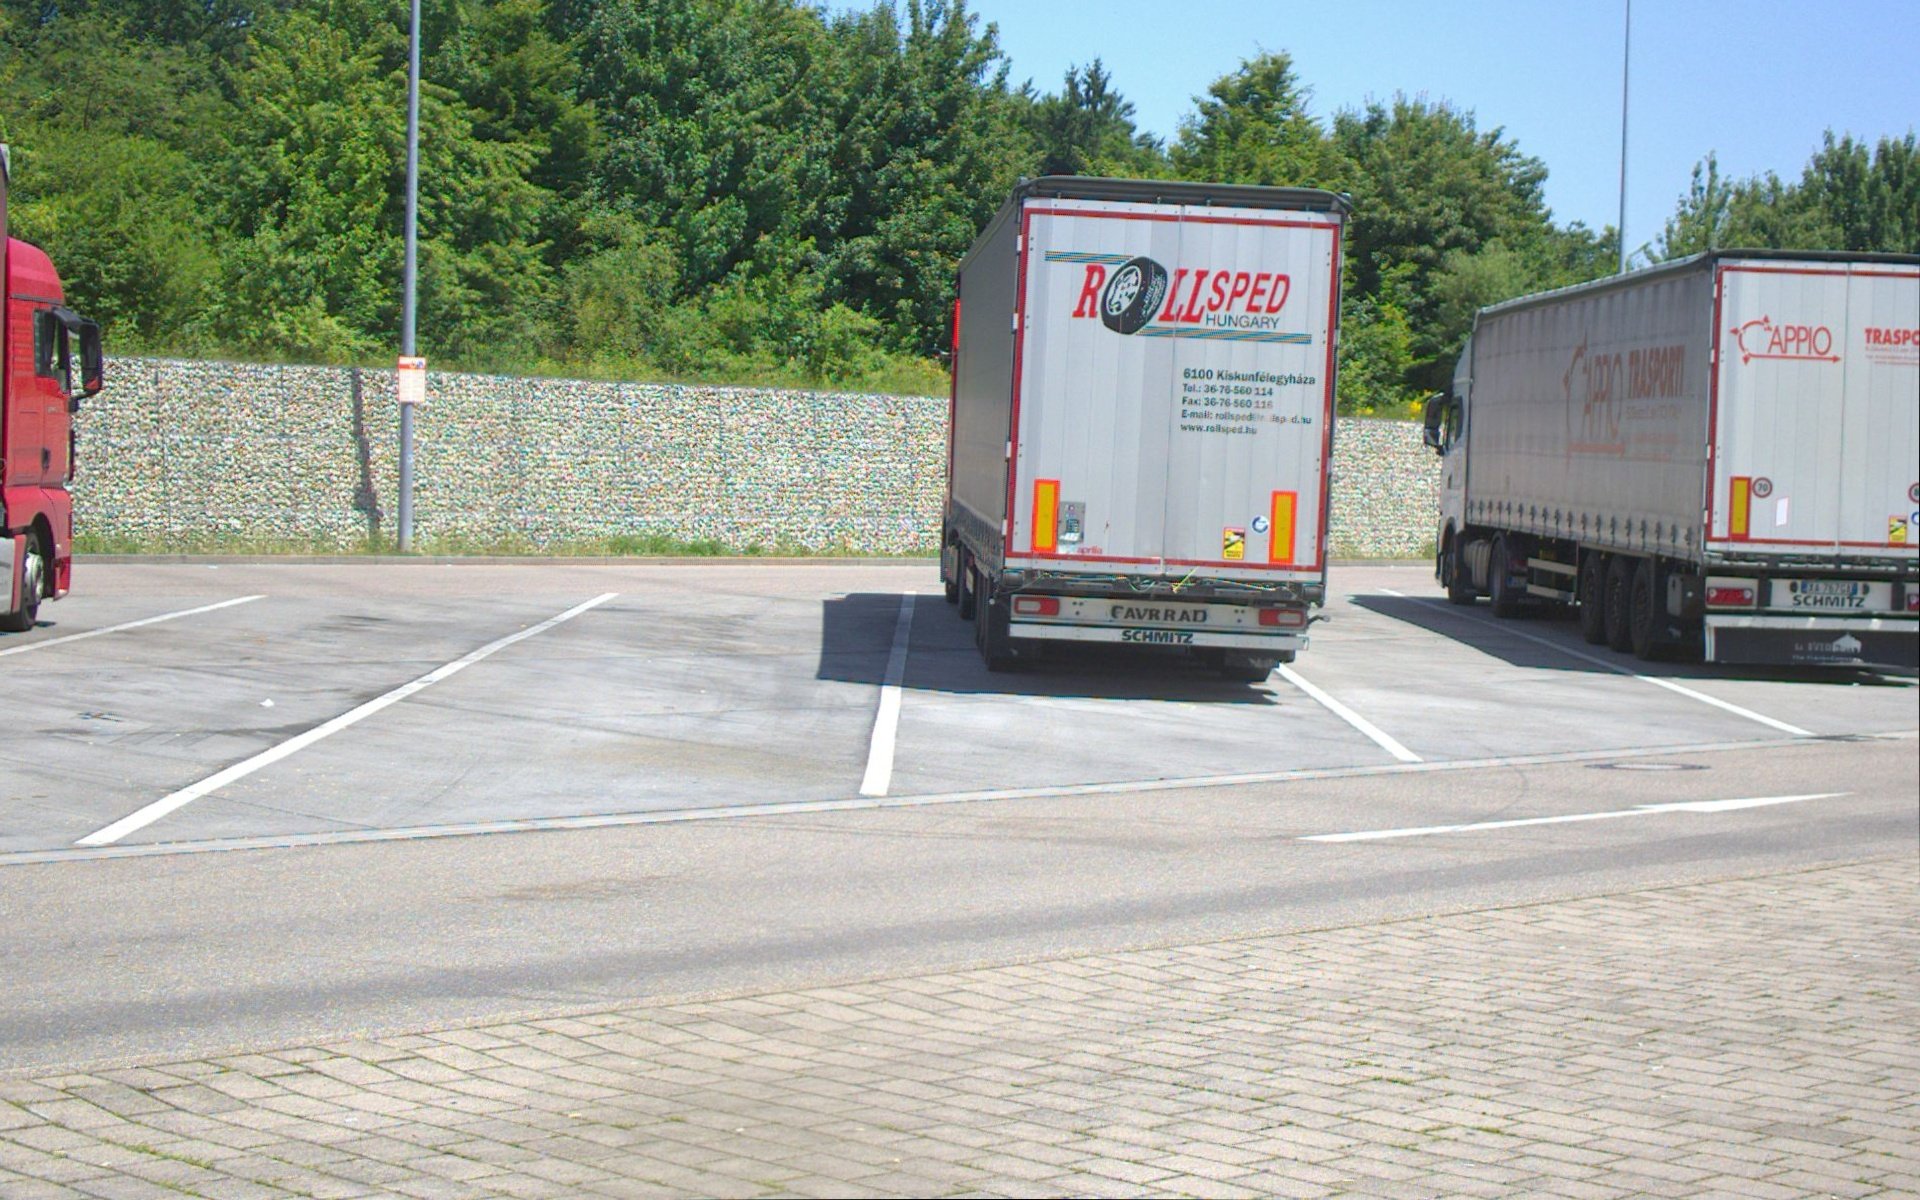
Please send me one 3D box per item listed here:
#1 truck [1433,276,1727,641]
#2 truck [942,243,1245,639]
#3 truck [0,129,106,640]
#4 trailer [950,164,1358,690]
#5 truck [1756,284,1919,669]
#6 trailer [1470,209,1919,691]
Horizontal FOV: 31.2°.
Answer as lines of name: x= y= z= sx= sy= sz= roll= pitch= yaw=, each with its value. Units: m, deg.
truck: x=7.999 y=-1.826 z=45.046 sx=2.661 sy=4.437 sz=5.864 roll=1 pitch=2 yaw=-1
truck: x=1.331 y=-1.698 z=37.705 sx=2.871 sy=3.967 sz=6.030 roll=1 pitch=2 yaw=-2
truck: x=-9.159 y=-1.766 z=28.364 sx=2.805 sy=4.119 sz=5.894 roll=1 pitch=2 yaw=-1
trailer: x=1.466 y=-1.506 z=32.017 sx=2.897 sy=4.000 sz=11.318 roll=1 pitch=2 yaw=-1
truck: x=11.747 y=-1.346 z=38.764 sx=2.587 sy=4.211 sz=11.971 roll=1 pitch=1 yaw=-1
trailer: x=8.129 y=-1.586 z=38.217 sx=2.681 sy=4.437 sz=12.831 roll=1 pitch=2 yaw=-1
